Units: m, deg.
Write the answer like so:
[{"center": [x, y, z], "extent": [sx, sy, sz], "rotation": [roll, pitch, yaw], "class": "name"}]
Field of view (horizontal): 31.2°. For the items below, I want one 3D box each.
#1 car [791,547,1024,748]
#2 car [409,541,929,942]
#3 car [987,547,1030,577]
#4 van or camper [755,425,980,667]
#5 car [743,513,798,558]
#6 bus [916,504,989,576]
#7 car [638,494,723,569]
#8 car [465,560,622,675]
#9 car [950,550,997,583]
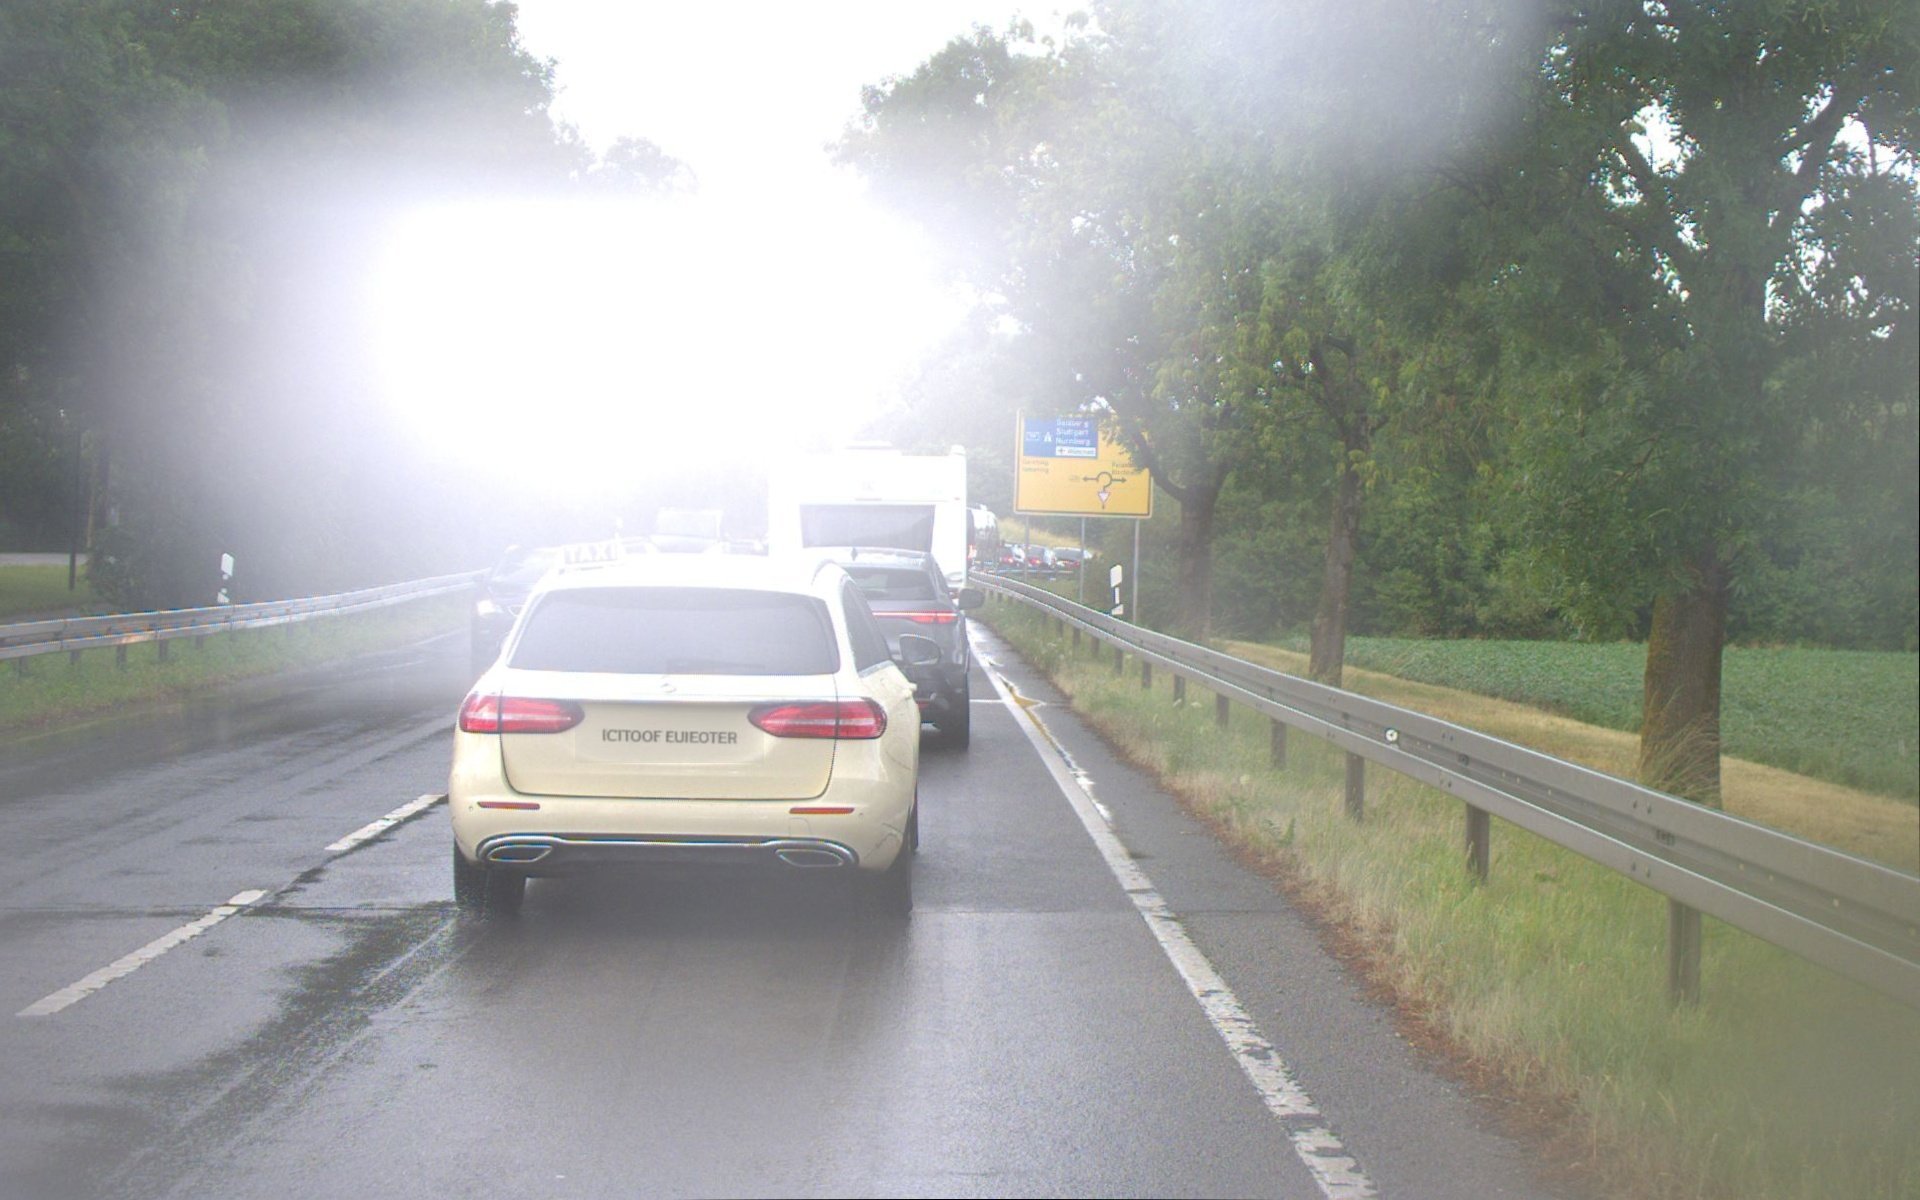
[{"center": [-0.368, 0.310, 26.753], "extent": [1.664, 1.426, 4.000], "rotation": [0, 1, 0], "class": "car"}, {"center": [-1.096, 0.490, 14.738], "extent": [1.865, 1.471, 4.000], "rotation": [0, 1, 0], "class": "car"}, {"center": [1.814, -1.428, 129.880], "extent": [1.551, 1.114, 4.000], "rotation": [1, 1, 0], "class": "car"}, {"center": [-1.029, -0.659, 41.618], "extent": [2.489, 2.676, 5.700], "rotation": [1, 1, 0], "class": "van or camper"}, {"center": [-6.150, -2.104, 112.135], "extent": [1.628, 1.433, 3.960], "rotation": [1, 1, -1], "class": "car"}, {"center": [-0.233, -1.696, 96.880], "extent": [1.993, 2.007, 4.000], "rotation": [0, 1, -1], "class": "bus"}, {"center": [-6.919, -1.693, 85.413], "extent": [1.828, 1.796, 4.415], "rotation": [0, 1, -1], "class": "car"}, {"center": [-5.621, 0.200, 46.803], "extent": [1.714, 1.446, 4.111], "rotation": [1, 1, -1], "class": "car"}, {"center": [0.458, -1.161, 120.451], "extent": [1.551, 1.114, 4.000], "rotation": [1, 1, -1], "class": "car"}]
